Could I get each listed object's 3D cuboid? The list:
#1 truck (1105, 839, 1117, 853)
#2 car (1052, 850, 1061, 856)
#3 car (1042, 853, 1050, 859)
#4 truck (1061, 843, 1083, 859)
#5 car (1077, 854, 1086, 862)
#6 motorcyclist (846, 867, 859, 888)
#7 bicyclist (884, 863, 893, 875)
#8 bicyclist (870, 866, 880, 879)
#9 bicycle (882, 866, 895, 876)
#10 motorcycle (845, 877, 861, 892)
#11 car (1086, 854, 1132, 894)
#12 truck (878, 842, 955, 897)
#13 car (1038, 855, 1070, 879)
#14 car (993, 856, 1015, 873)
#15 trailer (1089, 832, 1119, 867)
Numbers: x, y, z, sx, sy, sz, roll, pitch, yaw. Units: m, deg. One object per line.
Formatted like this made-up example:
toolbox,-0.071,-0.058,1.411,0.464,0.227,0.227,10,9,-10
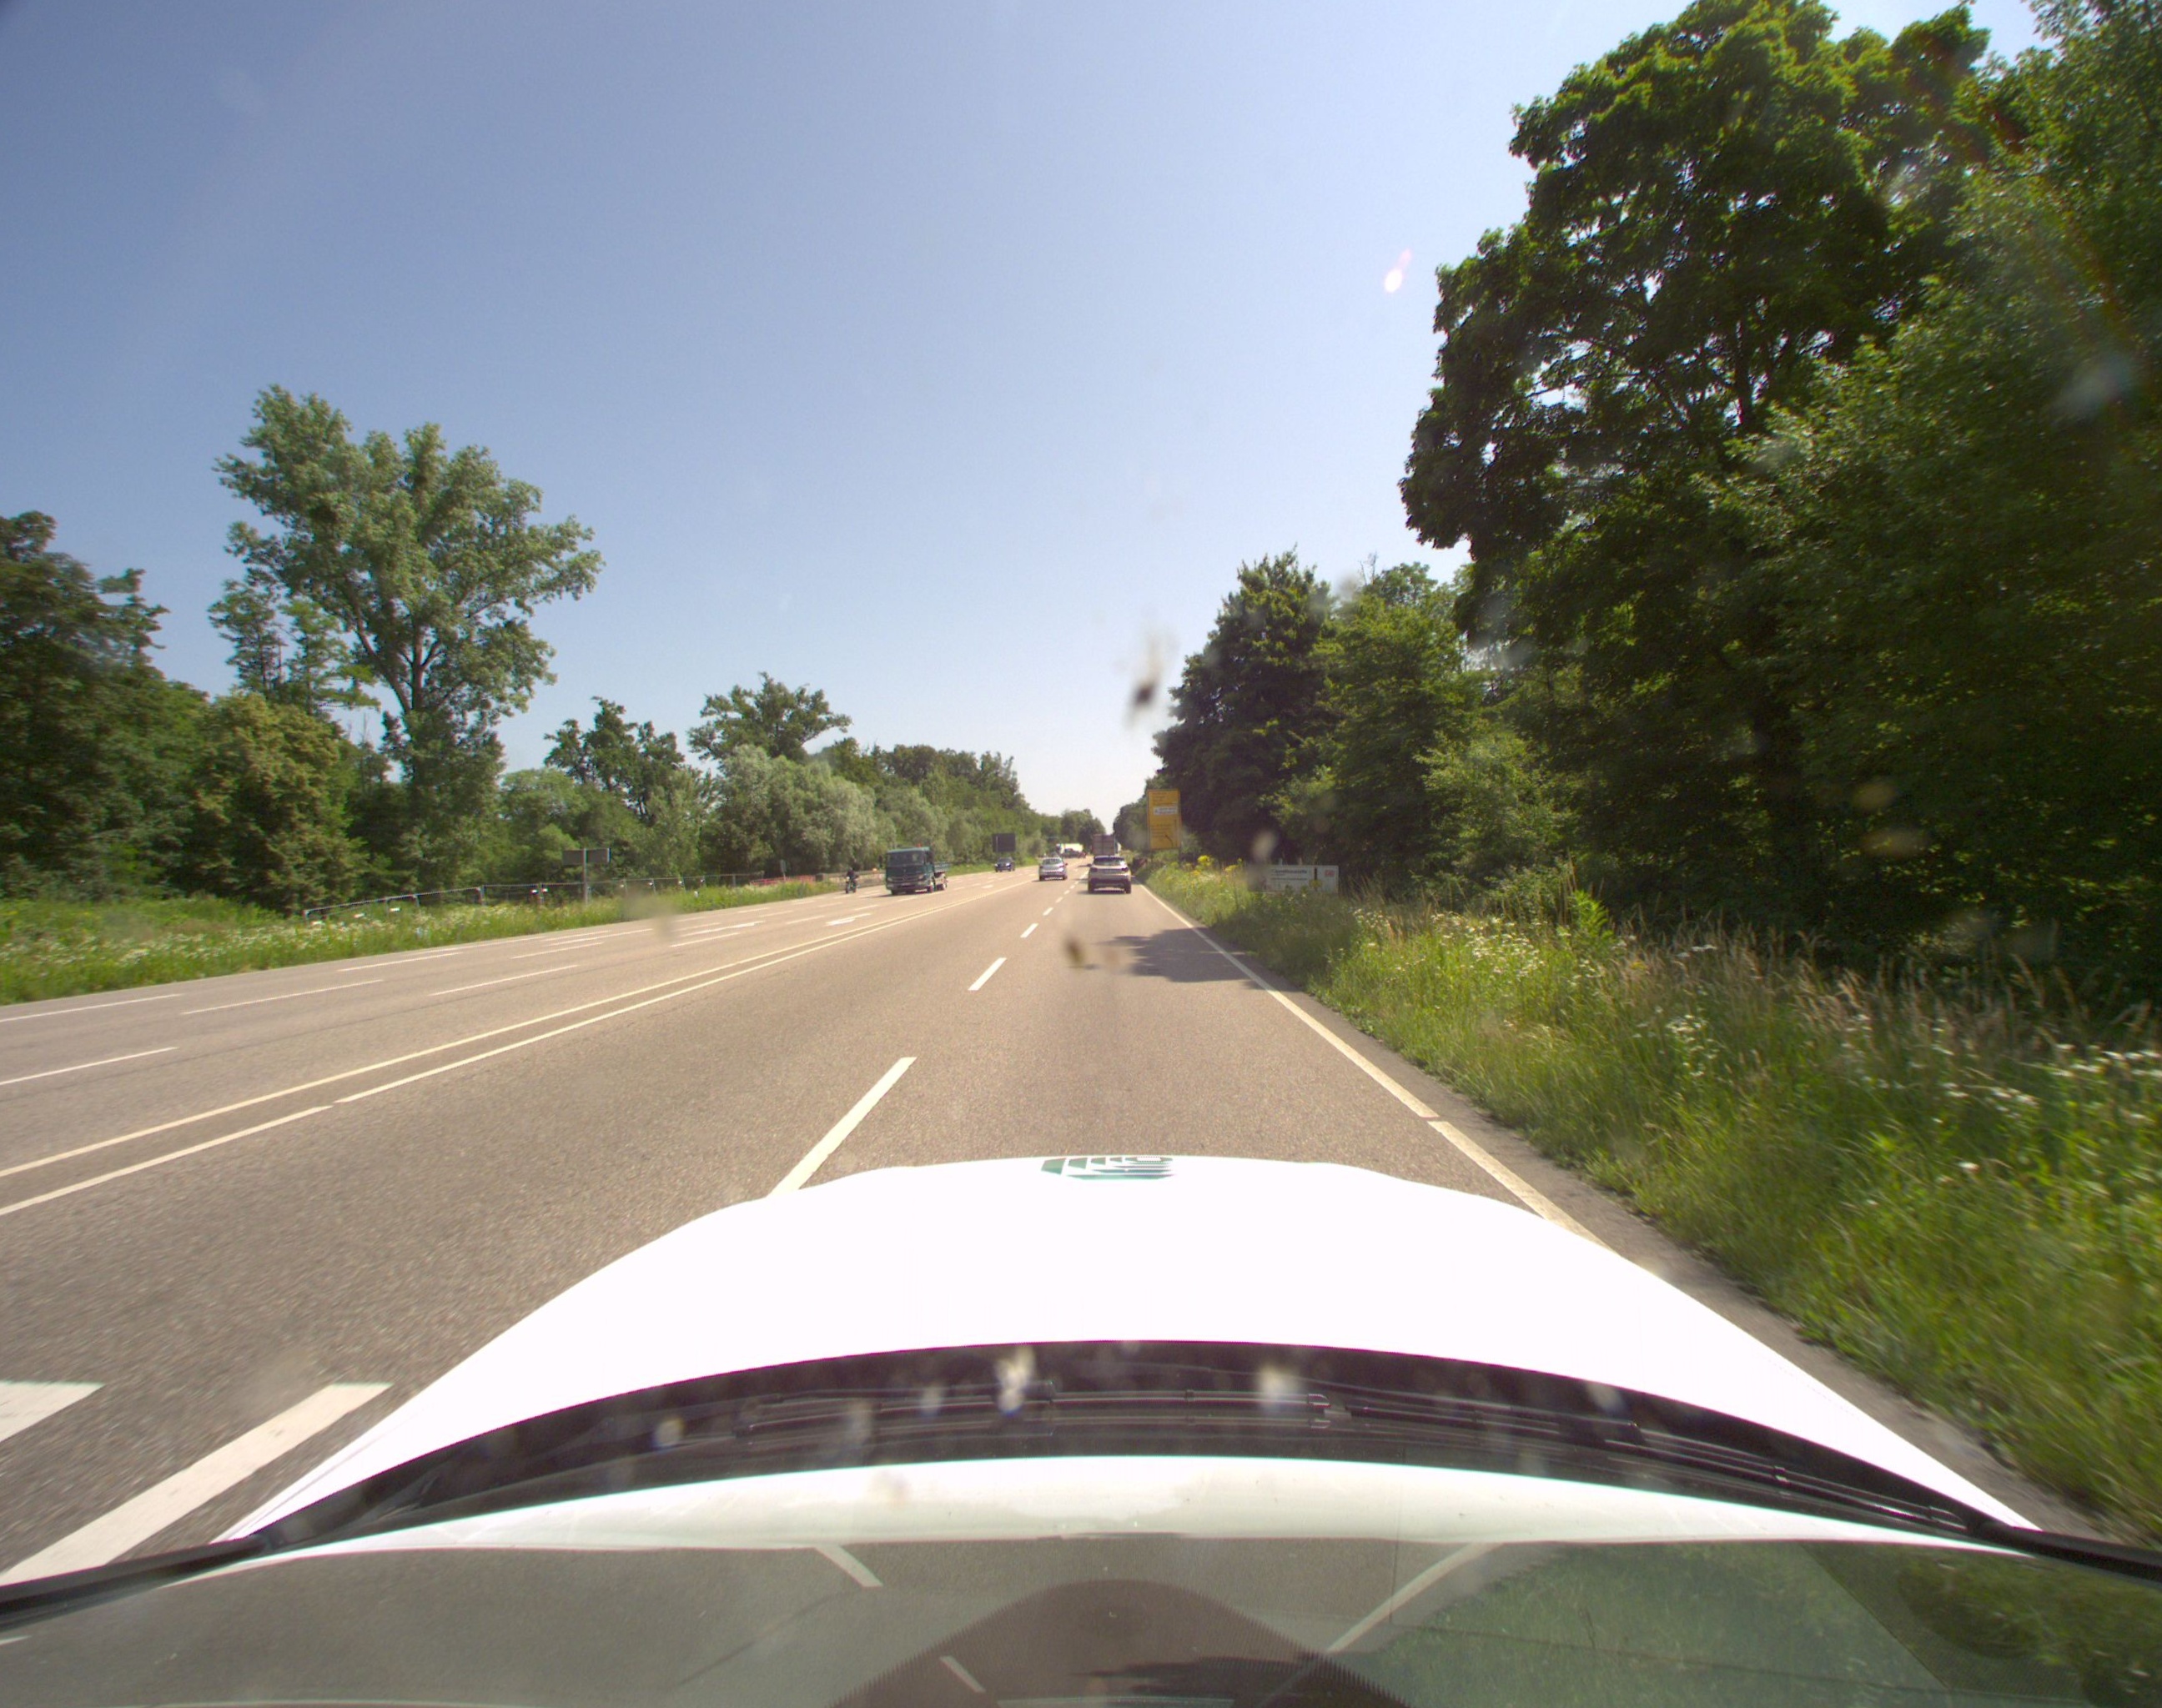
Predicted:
truck,9.007,-2.422,246.339,3.484,4.187,10.787,-1,0,2
car,-7.006,-0.389,233.676,1.995,1.585,3.984,-1,0,-12
car,-10.677,0.667,247.449,1.995,1.585,3.984,-1,0,-12
truck,-2.484,-0.842,216.318,3.651,4.105,9.463,-1,0,-14
car,0.137,0.971,199.890,1.985,2.014,4.557,-1,0,3
motorcyclist,-15.360,1.577,54.841,0.575,1.353,0.754,-3,-1,0
bicyclist,-20.399,1.616,86.238,0.730,1.195,0.594,-4,-1,13
bicyclist,-20.985,1.869,82.939,0.752,1.195,0.594,-4,0,12
bicycle,-20.364,1.817,86.254,0.600,1.006,1.561,-4,0,13
motorcycle,-15.334,2.040,54.820,0.515,0.893,1.910,-3,0,0
car,1.215,0.785,34.442,1.760,1.535,4.003,-2,0,3
truck,-9.049,0.796,45.546,2.444,2.656,6.495,-5,0,3
car,-1.685,0.829,51.909,1.659,1.430,3.831,-1,0,3
car,-9.542,1.262,101.335,1.986,1.881,4.961,-3,0,1
trailer,2.935,-0.470,100.358,3.369,3.988,10.811,-1,0,3
